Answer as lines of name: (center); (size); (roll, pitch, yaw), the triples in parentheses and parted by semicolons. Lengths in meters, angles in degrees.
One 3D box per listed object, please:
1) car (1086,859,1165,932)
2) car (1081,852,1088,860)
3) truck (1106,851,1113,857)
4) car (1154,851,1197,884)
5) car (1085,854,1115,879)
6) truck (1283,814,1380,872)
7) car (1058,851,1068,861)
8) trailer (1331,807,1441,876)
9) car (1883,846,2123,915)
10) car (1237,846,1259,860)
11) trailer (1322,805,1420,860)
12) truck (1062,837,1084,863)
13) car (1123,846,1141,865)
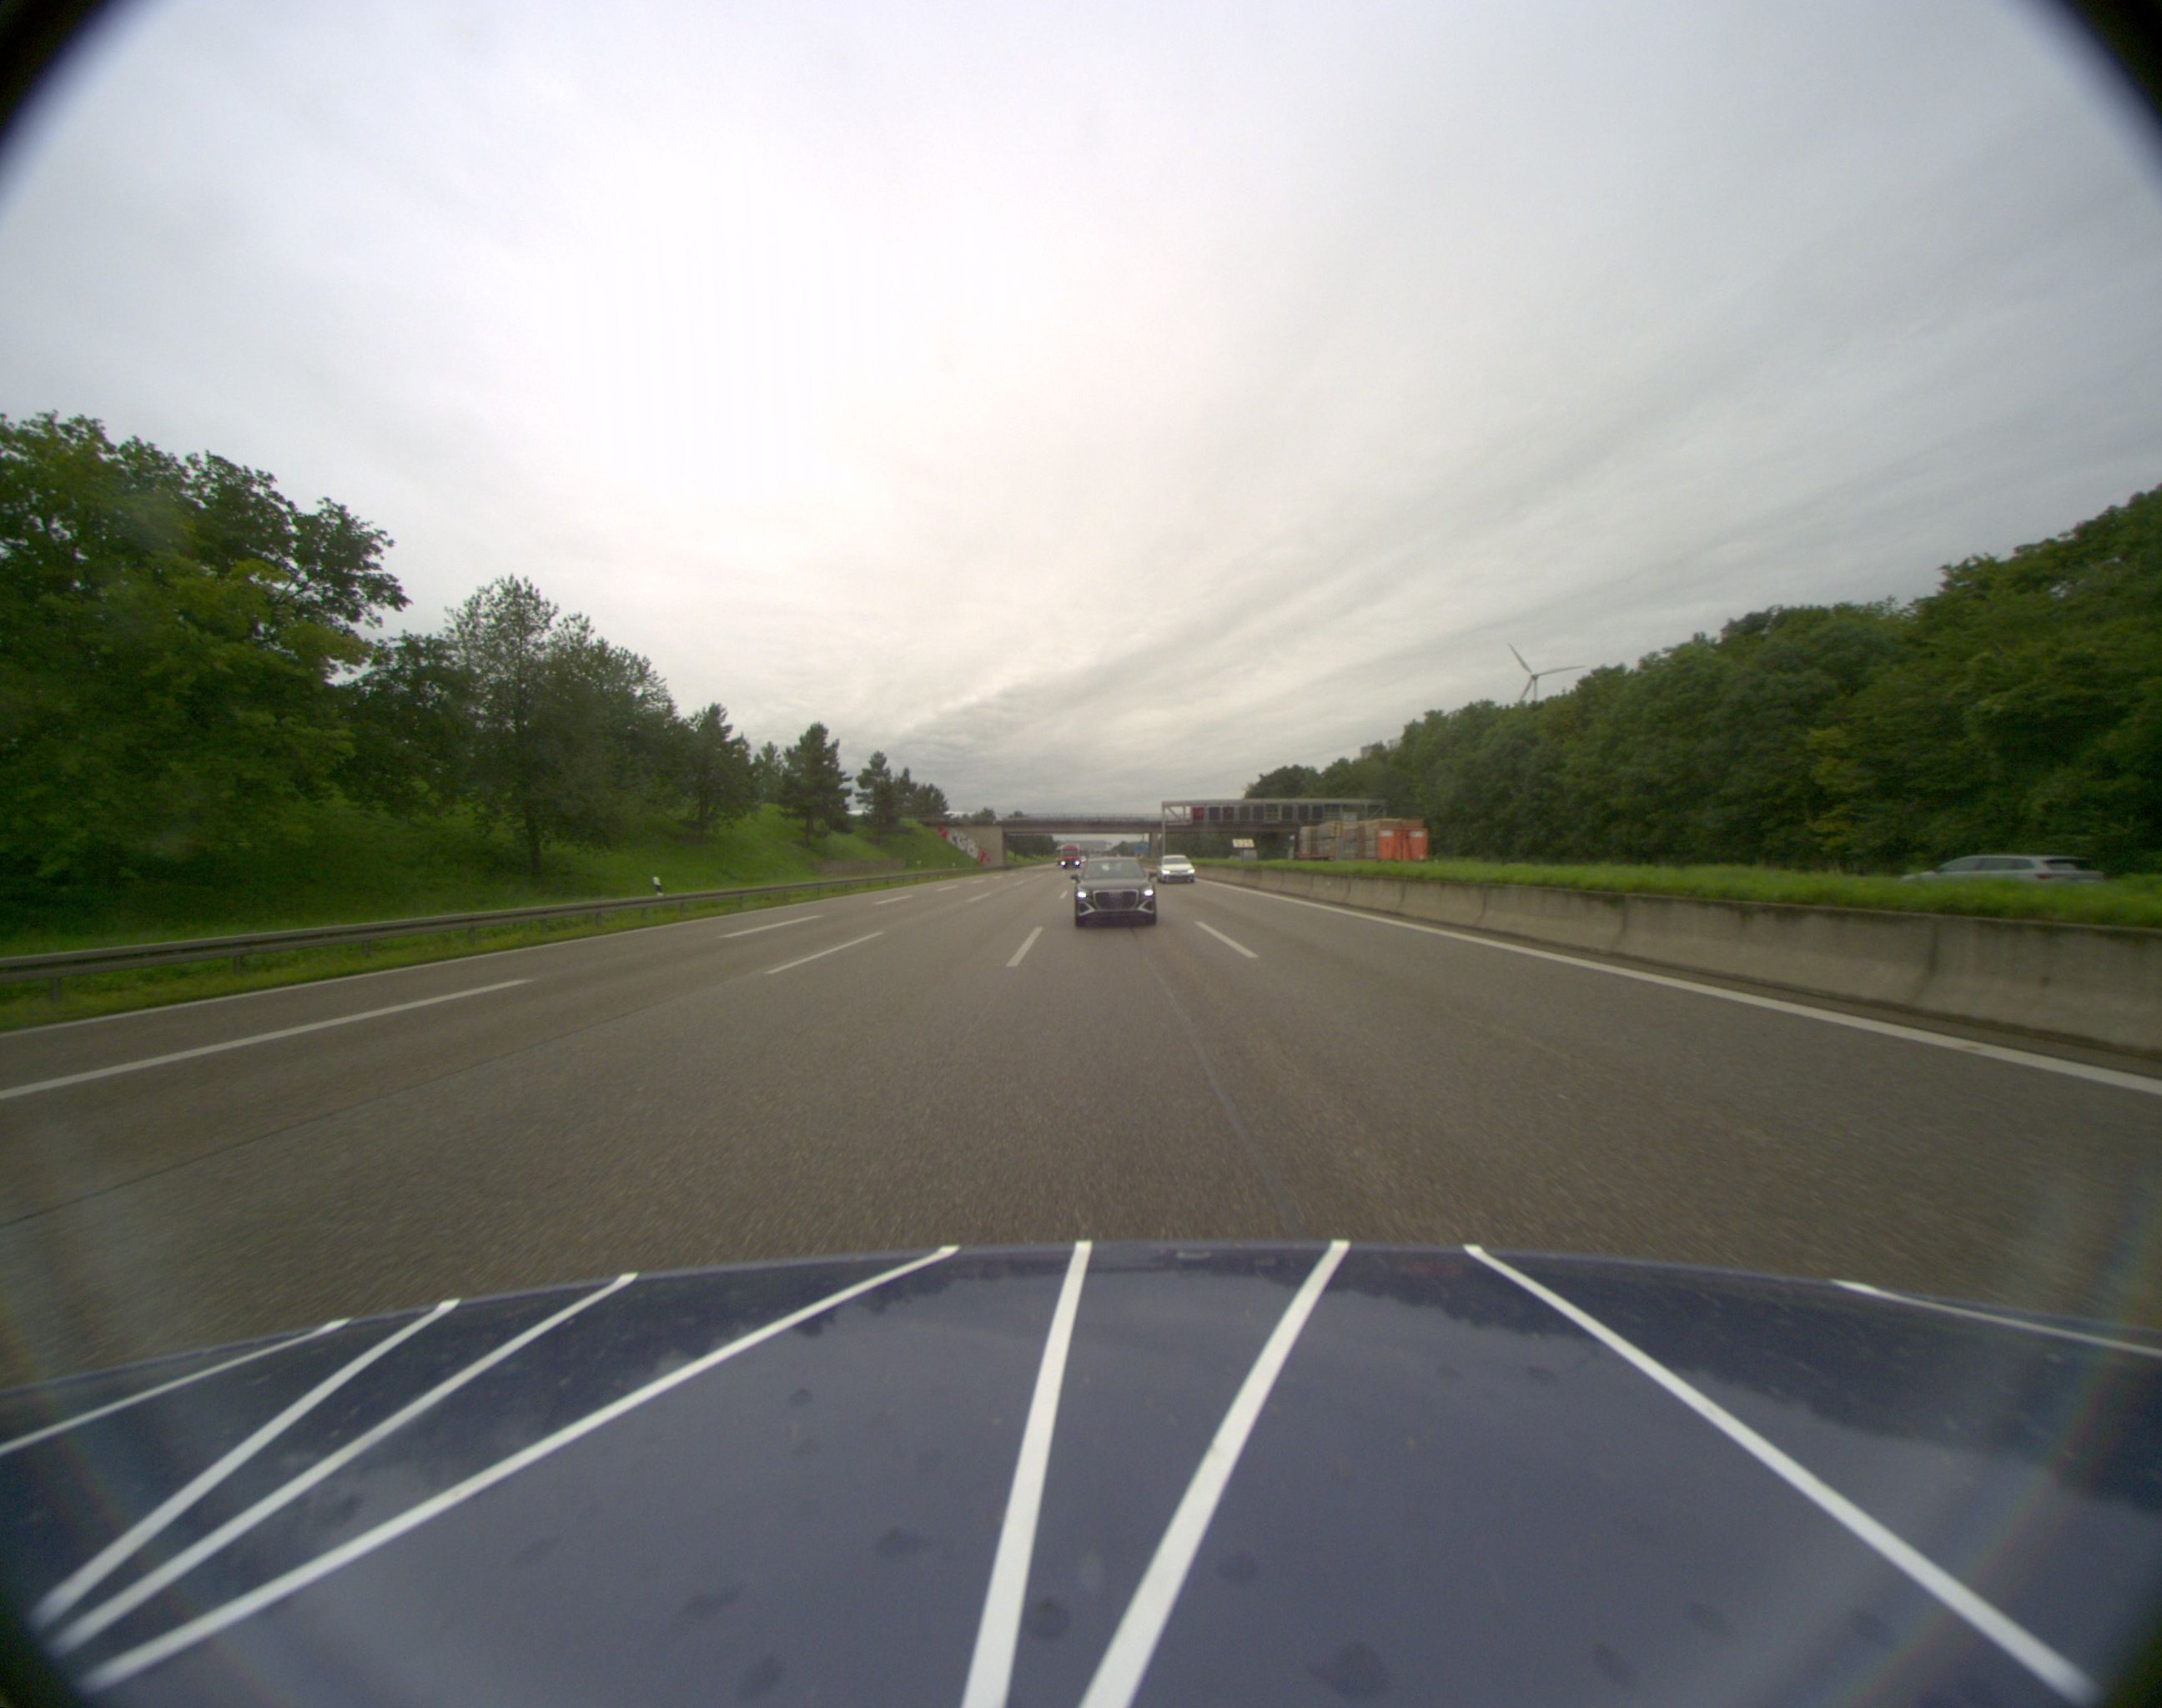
car: (0.945, 0.880, 17.605); (1.616, 1.403, 3.326); (-2, 1, 0)
car: (0.932, 0.486, 199.784); (1.690, 1.875, 3.741); (-2, 1, 1)
truck: (9.387, -0.108, 248.453); (1.998, 2.002, 4.000); (-2, 0, 1)
car: (5.041, 0.683, 41.169); (1.757, 1.608, 4.663); (-1, 0, 0)
car: (1.339, 0.845, 53.758); (1.998, 1.555, 4.910); (-2, 0, 1)
truck: (17.148, -0.741, 53.056); (2.958, 3.446, 11.183); (-2, 1, 0)
car: (-3.930, 0.484, 165.933); (1.998, 2.002, 4.000); (-2, 1, 2)
trailer: (17.057, -0.695, 43.204); (2.939, 3.439, 8.319); (-2, 1, 1)
car: (27.207, 0.692, 22.701); (1.998, 1.778, 4.304); (-2, 1, 2)
car: (27.329, -0.204, 124.561); (2.202, 2.072, 6.065); (-2, 1, 1)
trailer: (20.940, -1.485, 55.865); (2.692, 3.519, 11.869); (-2, 1, 1)
truck: (-1.151, -0.633, 113.463); (2.836, 3.634, 10.670); (-2, 1, 1)
car: (5.522, 0.124, 82.803); (1.725, 2.002, 3.851); (-2, 1, 1)
